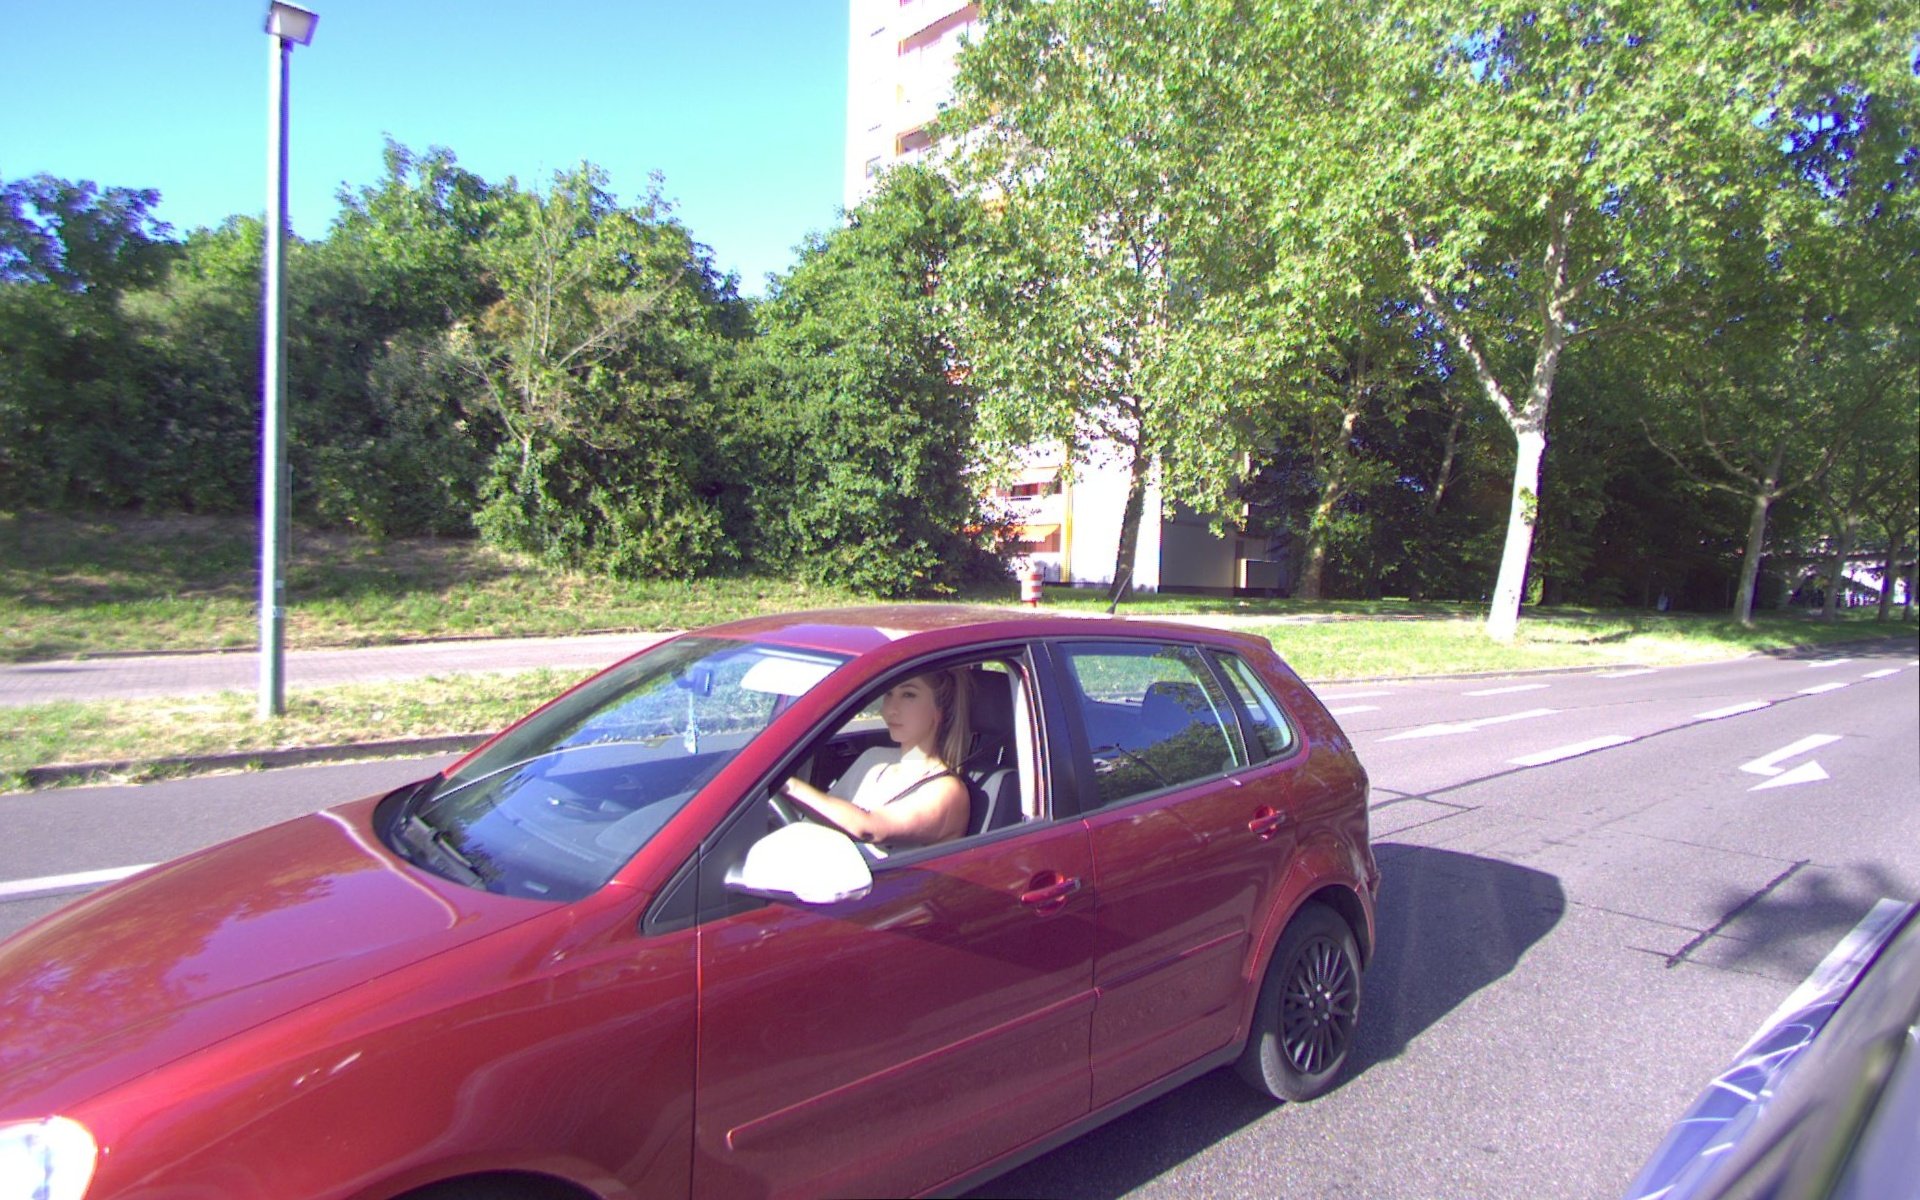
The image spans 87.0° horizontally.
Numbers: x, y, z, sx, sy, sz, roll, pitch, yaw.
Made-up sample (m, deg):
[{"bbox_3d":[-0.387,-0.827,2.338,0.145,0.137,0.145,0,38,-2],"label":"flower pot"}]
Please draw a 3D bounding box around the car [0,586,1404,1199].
[{"bbox_3d":[-0.448,0.709,2.720,3.624,1.479,1.579,-1,0,-40],"label":"car"}]
